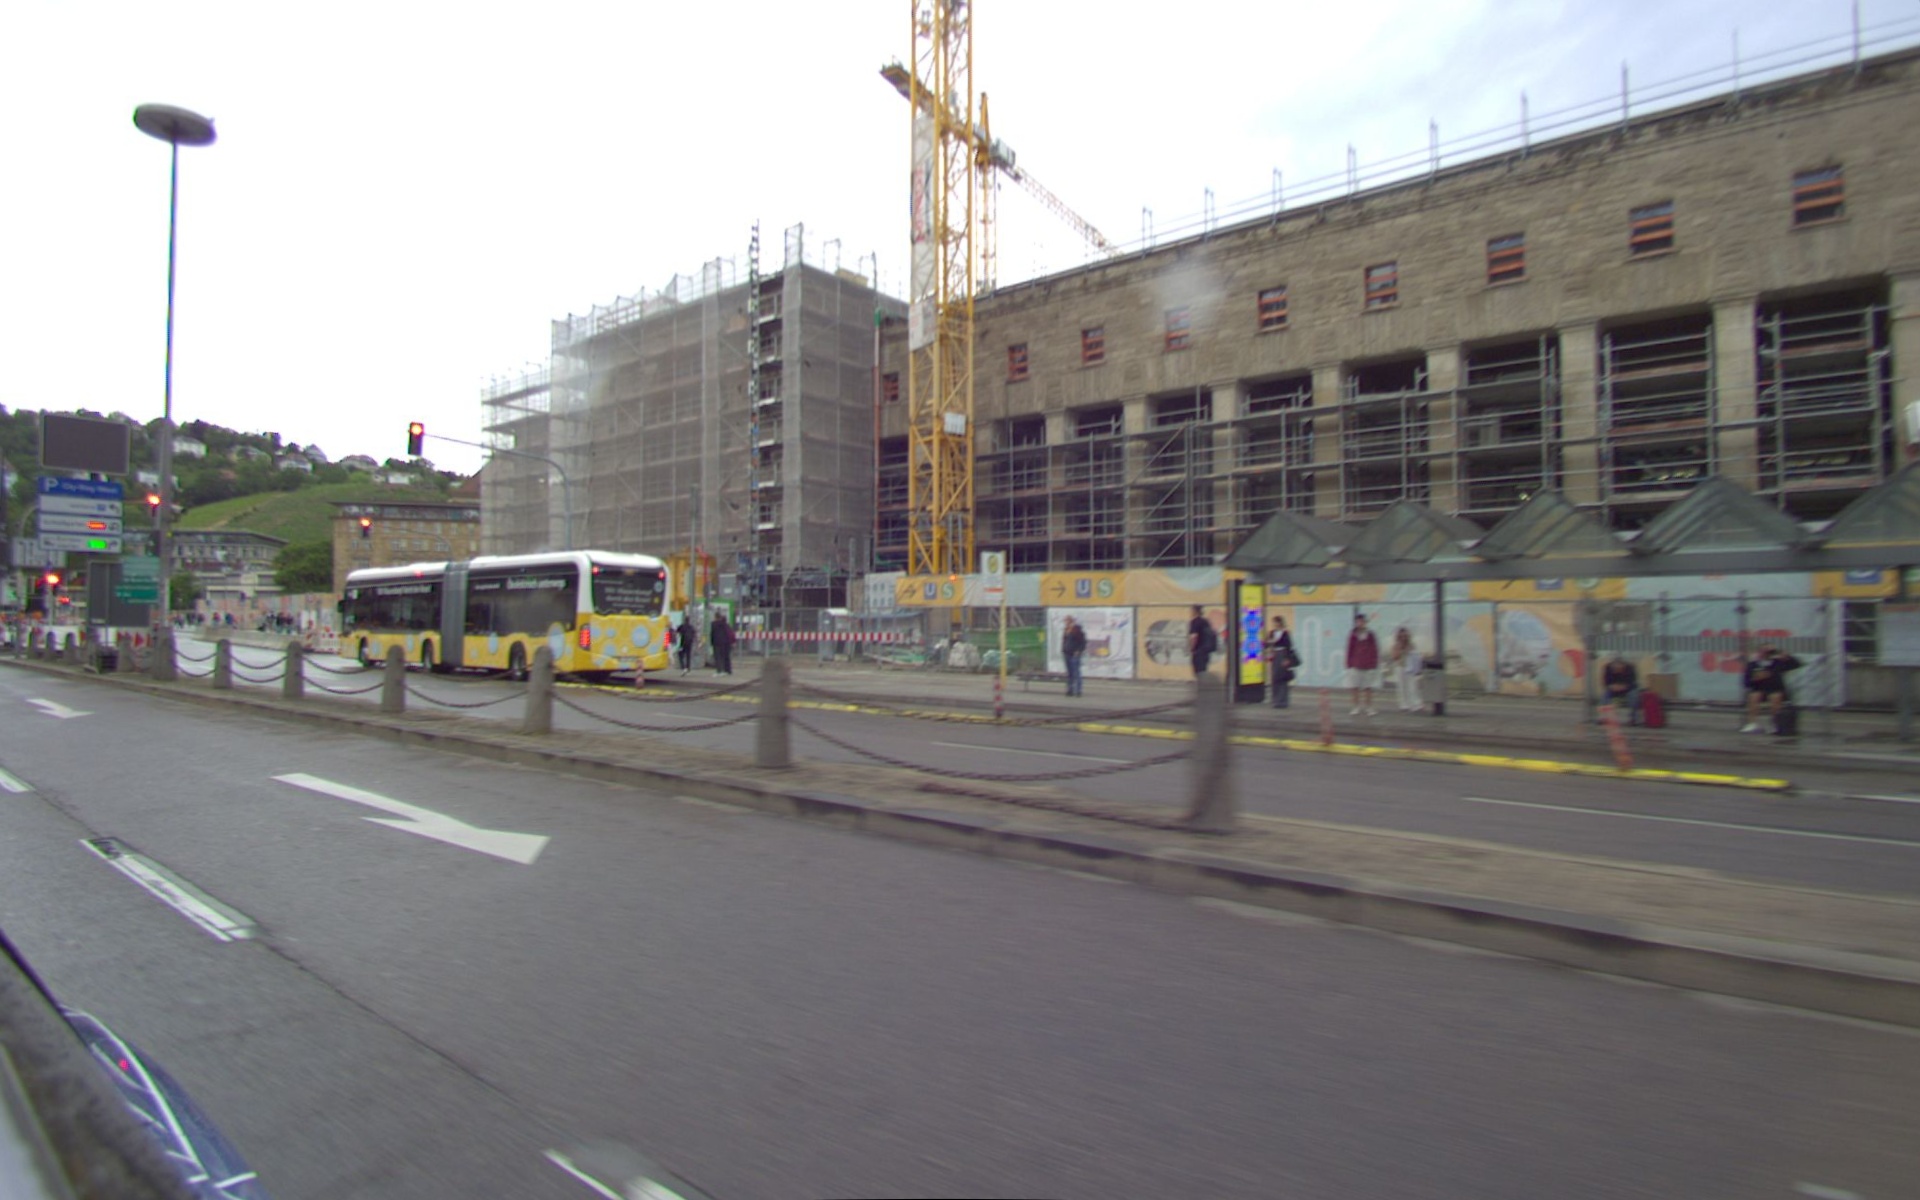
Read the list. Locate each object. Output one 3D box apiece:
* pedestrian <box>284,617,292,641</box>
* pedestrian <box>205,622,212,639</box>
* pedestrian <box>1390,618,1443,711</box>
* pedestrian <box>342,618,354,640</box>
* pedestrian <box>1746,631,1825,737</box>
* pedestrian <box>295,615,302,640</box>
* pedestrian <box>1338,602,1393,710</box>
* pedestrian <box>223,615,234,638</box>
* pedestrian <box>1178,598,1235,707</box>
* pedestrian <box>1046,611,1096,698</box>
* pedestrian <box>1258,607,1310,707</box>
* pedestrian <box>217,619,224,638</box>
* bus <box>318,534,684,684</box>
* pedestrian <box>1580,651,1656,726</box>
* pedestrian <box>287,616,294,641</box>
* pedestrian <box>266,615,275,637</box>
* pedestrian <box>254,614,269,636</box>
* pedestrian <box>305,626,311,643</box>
[{"bbox_3d":[-47.581,2.042,71.658,0.365,1.633,0.395,-1,0,45],"label":"pedestrian"},{"bbox_3d":[-69.370,2.808,93.465,0.413,1.628,0.433,-1,-1,40],"label":"pedestrian"},{"bbox_3d":[8.347,1.160,18.507,0.802,1.642,0.552,-1,-1,31],"label":"pedestrian"},{"bbox_3d":[-40.733,1.935,67.345,0.557,1.454,0.529,1,-2,-42],"label":"pedestrian"},{"bbox_3d":[11.924,1.185,14.650,0.830,1.443,1.045,-1,-1,38],"label":"pedestrian"},{"bbox_3d":[-46.661,1.923,71.376,0.268,1.783,0.310,-1,0,44],"label":"pedestrian"},{"bbox_3d":[6.984,0.944,17.424,0.746,1.804,0.718,-1,-1,33],"label":"pedestrian"},{"bbox_3d":[-65.223,2.364,90.231,0.685,2.049,0.585,-1,-1,40],"label":"pedestrian"},{"bbox_3d":[4.626,0.960,18.976,0.821,1.973,0.752,-1,-1,37],"label":"pedestrian"},{"bbox_3d":[2.376,1.141,21.613,0.690,1.804,0.795,0,-1,-39],"label":"pedestrian"},{"bbox_3d":[5.965,1.037,18.643,0.802,1.804,0.552,-1,-1,31],"label":"pedestrian"},{"bbox_3d":[-65.419,2.536,89.544,0.413,1.628,0.433,-1,-1,40],"label":"pedestrian"},{"bbox_3d":[-15.283,0.371,31.613,19.070,3.605,2.879,-1,-2,42],"label":"bus"},{"bbox_3d":[10.323,1.364,15.869,0.925,1.101,0.836,-1,-1,38],"label":"pedestrian"},{"bbox_3d":[-47.016,2.013,71.078,0.346,1.783,0.307,-1,-2,44],"label":"pedestrian"},{"bbox_3d":[-56.393,2.128,82.806,0.462,1.768,0.511,-1,0,40],"label":"pedestrian"},{"bbox_3d":[-53.921,1.900,78.124,0.617,1.698,0.796,-1,-2,43],"label":"pedestrian"},{"bbox_3d":[-46.211,2.455,71.737,0.251,1.202,0.390,0,0,-44],"label":"pedestrian"}]
